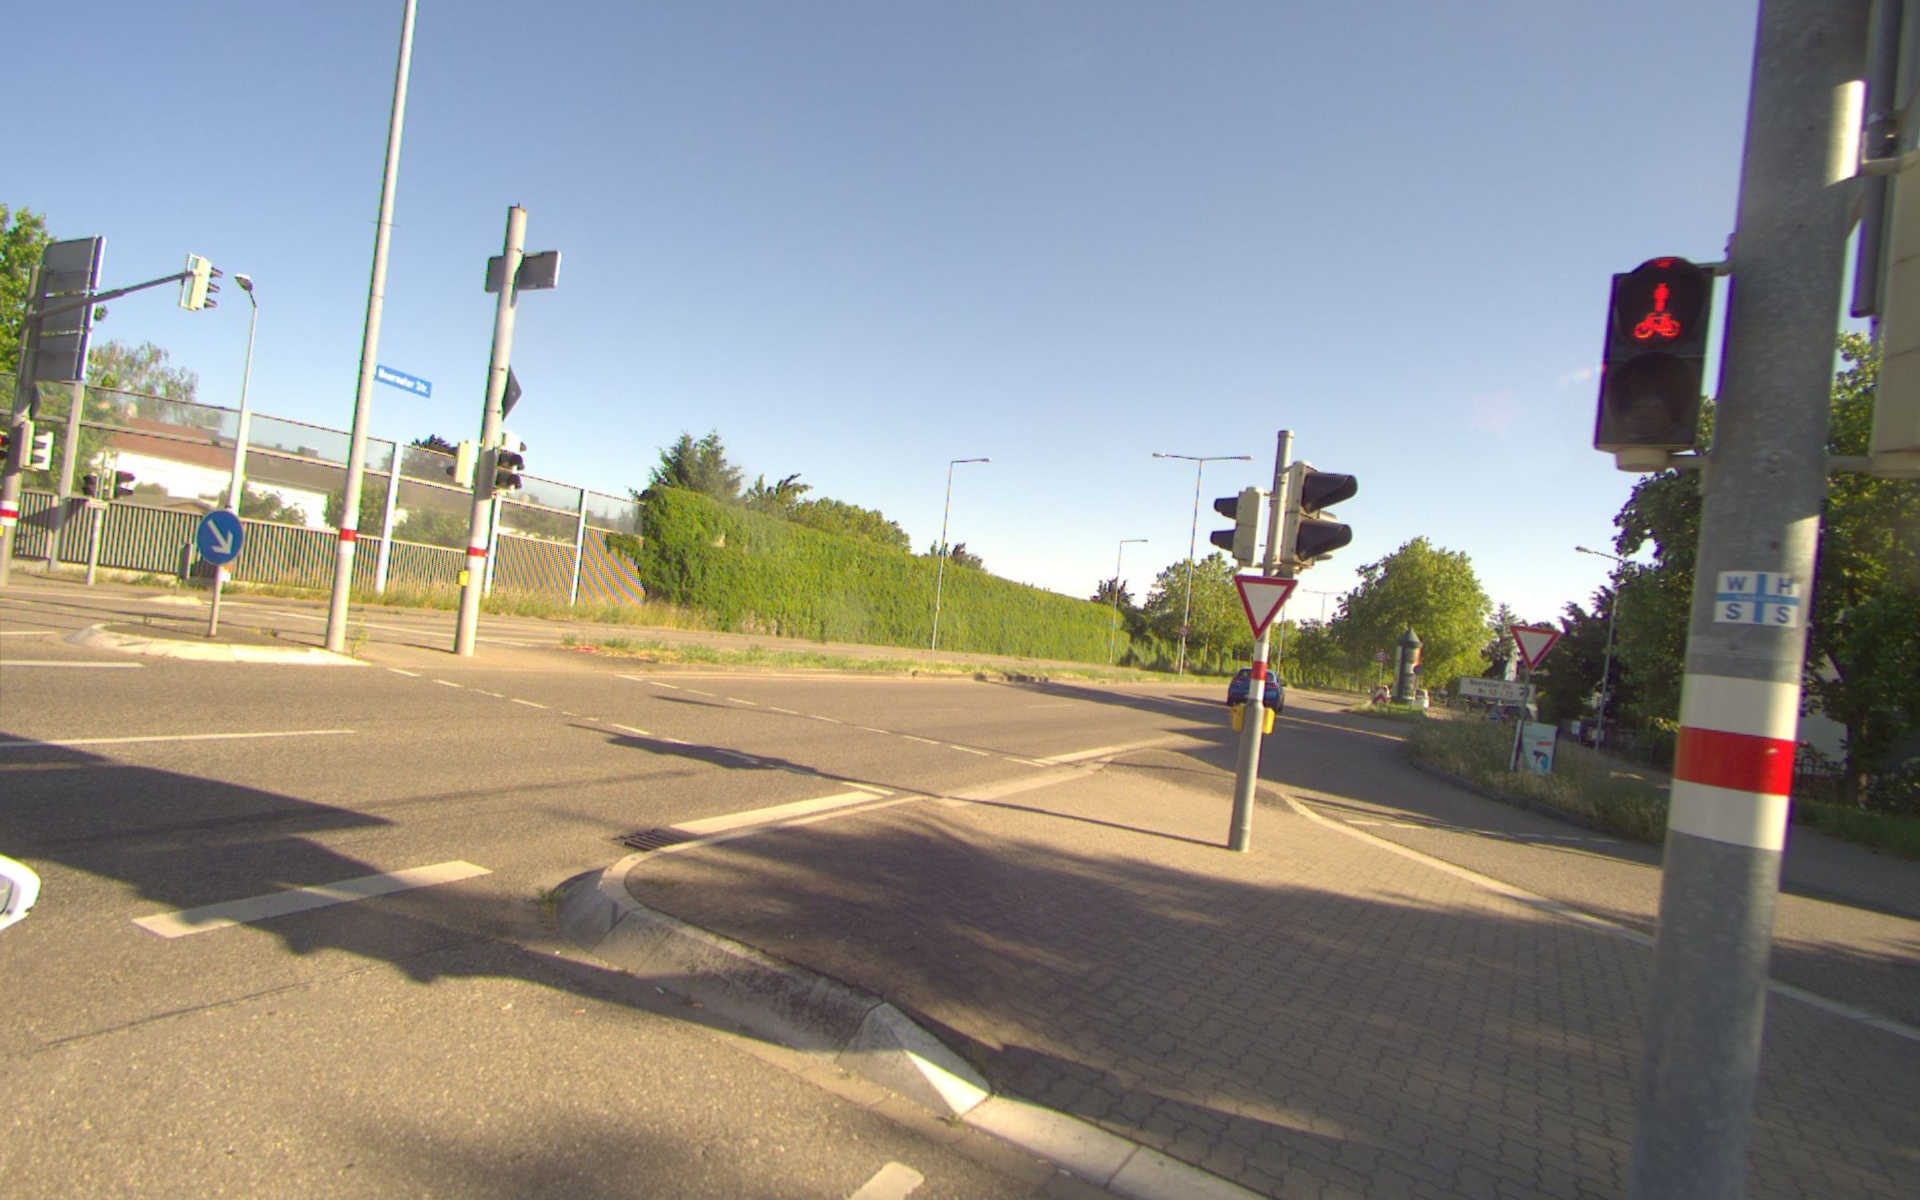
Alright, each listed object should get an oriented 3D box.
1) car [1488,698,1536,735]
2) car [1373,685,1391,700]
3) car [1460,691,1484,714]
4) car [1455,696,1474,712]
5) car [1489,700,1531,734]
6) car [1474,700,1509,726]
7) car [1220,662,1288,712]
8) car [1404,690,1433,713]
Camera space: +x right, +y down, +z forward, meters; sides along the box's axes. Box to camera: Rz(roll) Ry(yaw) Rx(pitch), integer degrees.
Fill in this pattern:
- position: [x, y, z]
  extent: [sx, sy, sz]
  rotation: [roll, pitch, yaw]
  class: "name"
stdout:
- position: [30.794, 6.474, 56.231]
  extent: [1.965, 1.637, 3.998]
  rotation: [7, -2, 26]
  class: "car"
- position: [55.592, 12.171, 132.410]
  extent: [1.826, 1.610, 3.998]
  rotation: [7, -2, 26]
  class: "car"
- position: [51.557, 10.326, 101.358]
  extent: [1.764, 1.977, 4.004]
  rotation: [7, -3, 24]
  class: "car"
- position: [62.632, 12.908, 124.871]
  extent: [1.826, 1.610, 3.998]
  rotation: [7, -2, 26]
  class: "car"
- position: [35.554, 7.595, 65.101]
  extent: [1.965, 1.838, 4.002]
  rotation: [7, -3, 26]
  class: "car"
- position: [39.170, 8.356, 74.274]
  extent: [1.965, 1.609, 4.002]
  rotation: [7, -3, 26]
  class: "car"
- position: [10.476, 3.063, 35.696]
  extent: [1.706, 1.457, 3.793]
  rotation: [7, -1, 24]
  class: "car"
- position: [34.398, 7.584, 75.409]
  extent: [1.703, 1.450, 3.999]
  rotation: [7, -2, 26]
  class: "car"
